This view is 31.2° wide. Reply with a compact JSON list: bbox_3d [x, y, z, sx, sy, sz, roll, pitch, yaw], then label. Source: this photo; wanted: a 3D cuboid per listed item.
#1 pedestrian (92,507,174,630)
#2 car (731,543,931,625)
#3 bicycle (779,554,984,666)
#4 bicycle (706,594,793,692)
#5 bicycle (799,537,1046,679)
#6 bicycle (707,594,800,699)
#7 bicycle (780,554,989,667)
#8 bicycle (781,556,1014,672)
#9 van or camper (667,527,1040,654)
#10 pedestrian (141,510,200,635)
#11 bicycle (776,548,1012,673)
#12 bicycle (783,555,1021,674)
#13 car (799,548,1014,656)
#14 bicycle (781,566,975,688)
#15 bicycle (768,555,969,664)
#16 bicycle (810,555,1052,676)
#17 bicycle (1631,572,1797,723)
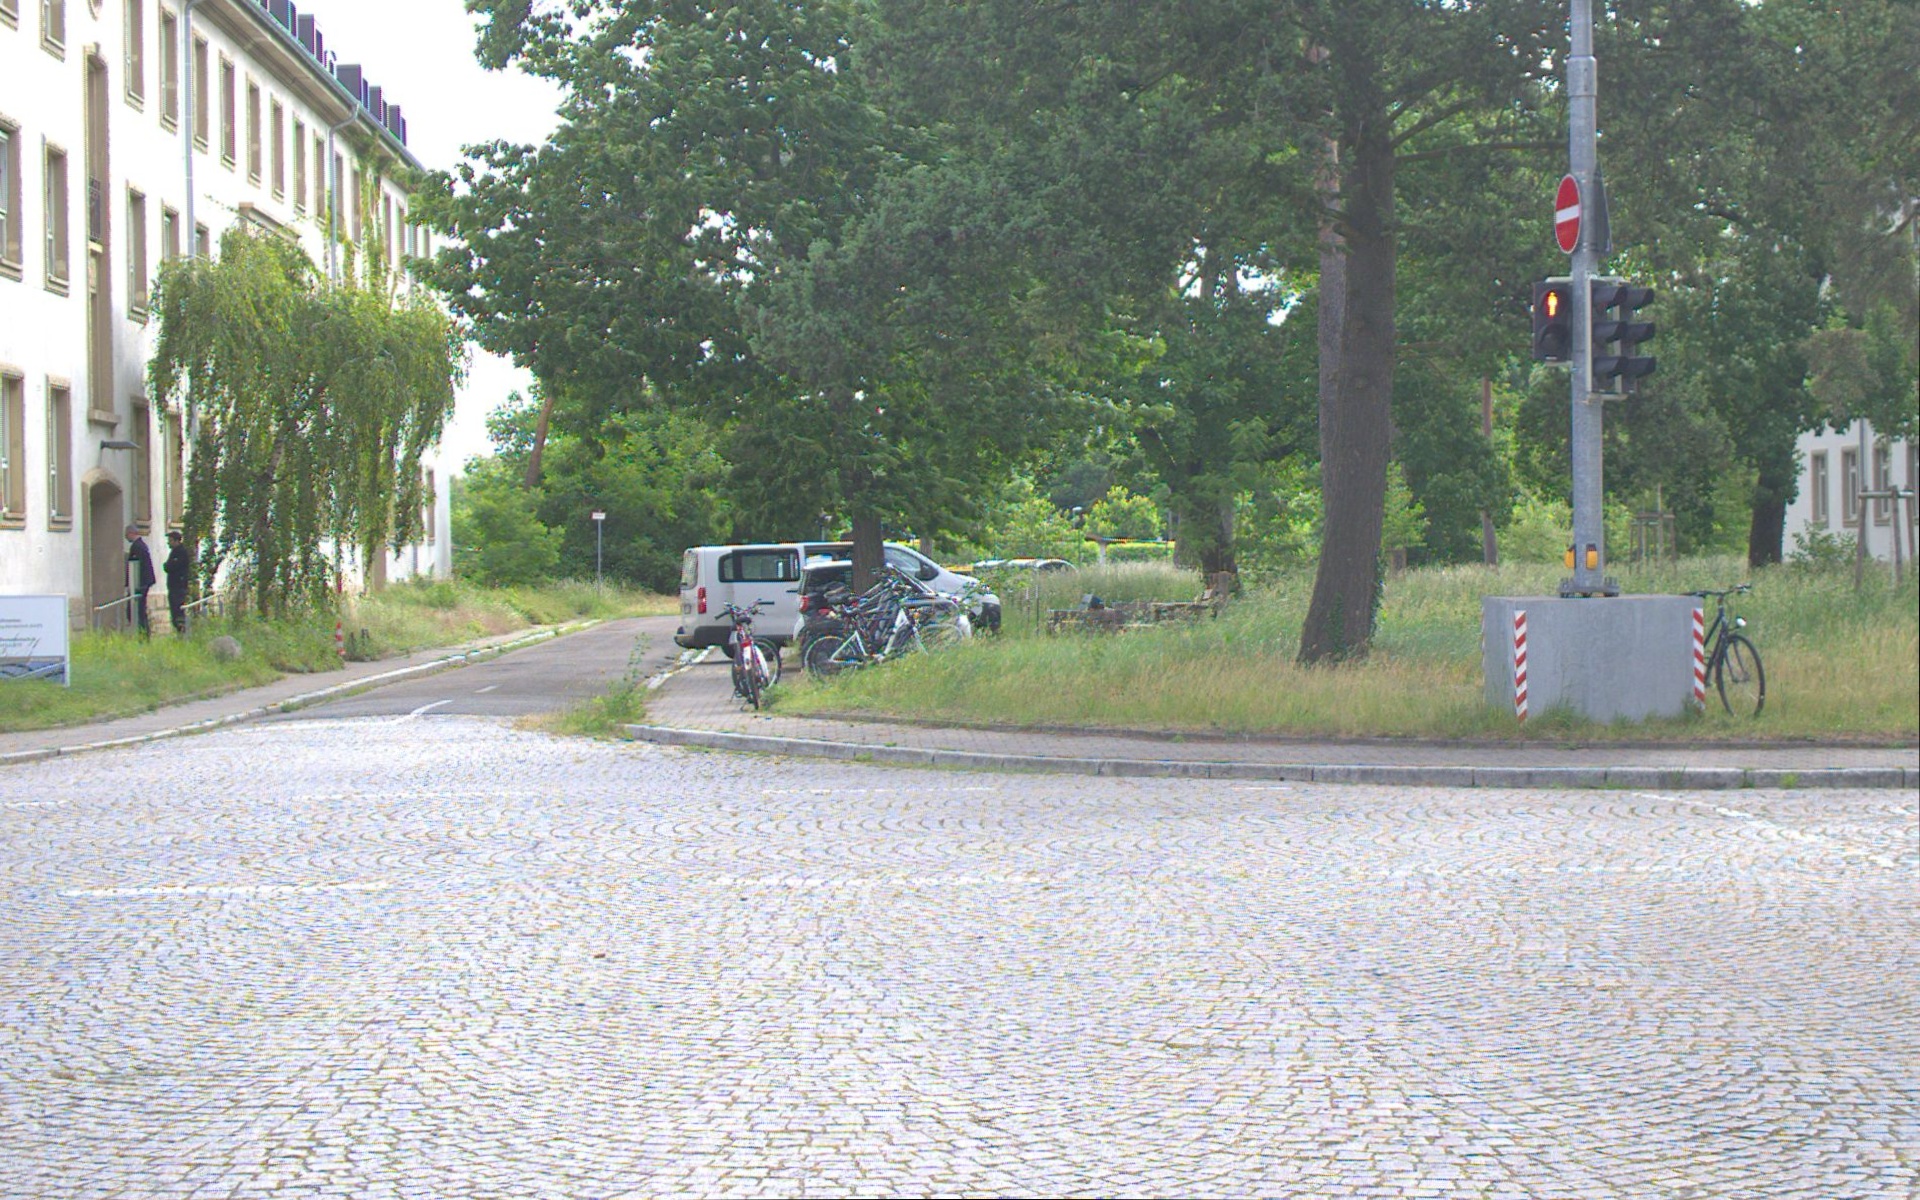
[{"bbox_3d":[-12.751,-0.476,53.063,1.194,1.863,1.550,0,0,-12],"label":"pedestrian"},{"bbox_3d":[-2.645,-0.332,70.155,3.986,1.594,1.704,-1,1,-4],"label":"car"},{"bbox_3d":[-1.009,0.120,43.893,2.567,1.367,0.951,-1,1,-3],"label":"bicycle"},{"bbox_3d":[-2.248,0.445,36.921,0.727,0.993,1.979,-1,1,2],"label":"bicycle"},{"bbox_3d":[-0.447,0.083,39.746,2.802,1.578,0.951,-1,1,-3],"label":"bicycle"},{"bbox_3d":[-2.085,0.458,34.833,0.900,0.993,1.979,-1,1,-3],"label":"bicycle"},{"bbox_3d":[-0.960,0.125,43.054,2.567,1.367,0.951,-1,1,-3],"label":"bicycle"},{"bbox_3d":[-0.773,0.161,42.096,2.802,1.367,0.951,-1,1,-3],"label":"bicycle"},{"bbox_3d":[-1.763,-0.179,56.346,5.740,1.950,2.238,-1,1,-14],"label":"van or camper"},{"bbox_3d":[-12.392,-0.433,53.949,0.865,1.925,0.837,1,0,-14],"label":"pedestrian"},{"bbox_3d":[-0.757,0.115,38.866,2.619,1.362,0.874,-1,1,-3],"label":"bicycle"},{"bbox_3d":[-0.706,0.167,41.204,2.802,1.367,0.951,-1,1,-3],"label":"bicycle"},{"bbox_3d":[-0.850,0.025,52.870,3.224,1.615,1.938,0,0,-3],"label":"car"},{"bbox_3d":[-0.919,0.293,38.250,2.112,1.302,0.874,-1,1,-3],"label":"bicycle"},{"bbox_3d":[-1.208,0.113,44.725,2.567,1.367,0.951,-1,1,-3],"label":"bicycle"},{"bbox_3d":[-0.356,0.172,40.681,2.802,1.367,0.951,-1,1,-3],"label":"bicycle"},{"bbox_3d":[5.762,0.345,26.365,0.644,1.059,1.834,-5,1,-5],"label":"bicycle"}]
